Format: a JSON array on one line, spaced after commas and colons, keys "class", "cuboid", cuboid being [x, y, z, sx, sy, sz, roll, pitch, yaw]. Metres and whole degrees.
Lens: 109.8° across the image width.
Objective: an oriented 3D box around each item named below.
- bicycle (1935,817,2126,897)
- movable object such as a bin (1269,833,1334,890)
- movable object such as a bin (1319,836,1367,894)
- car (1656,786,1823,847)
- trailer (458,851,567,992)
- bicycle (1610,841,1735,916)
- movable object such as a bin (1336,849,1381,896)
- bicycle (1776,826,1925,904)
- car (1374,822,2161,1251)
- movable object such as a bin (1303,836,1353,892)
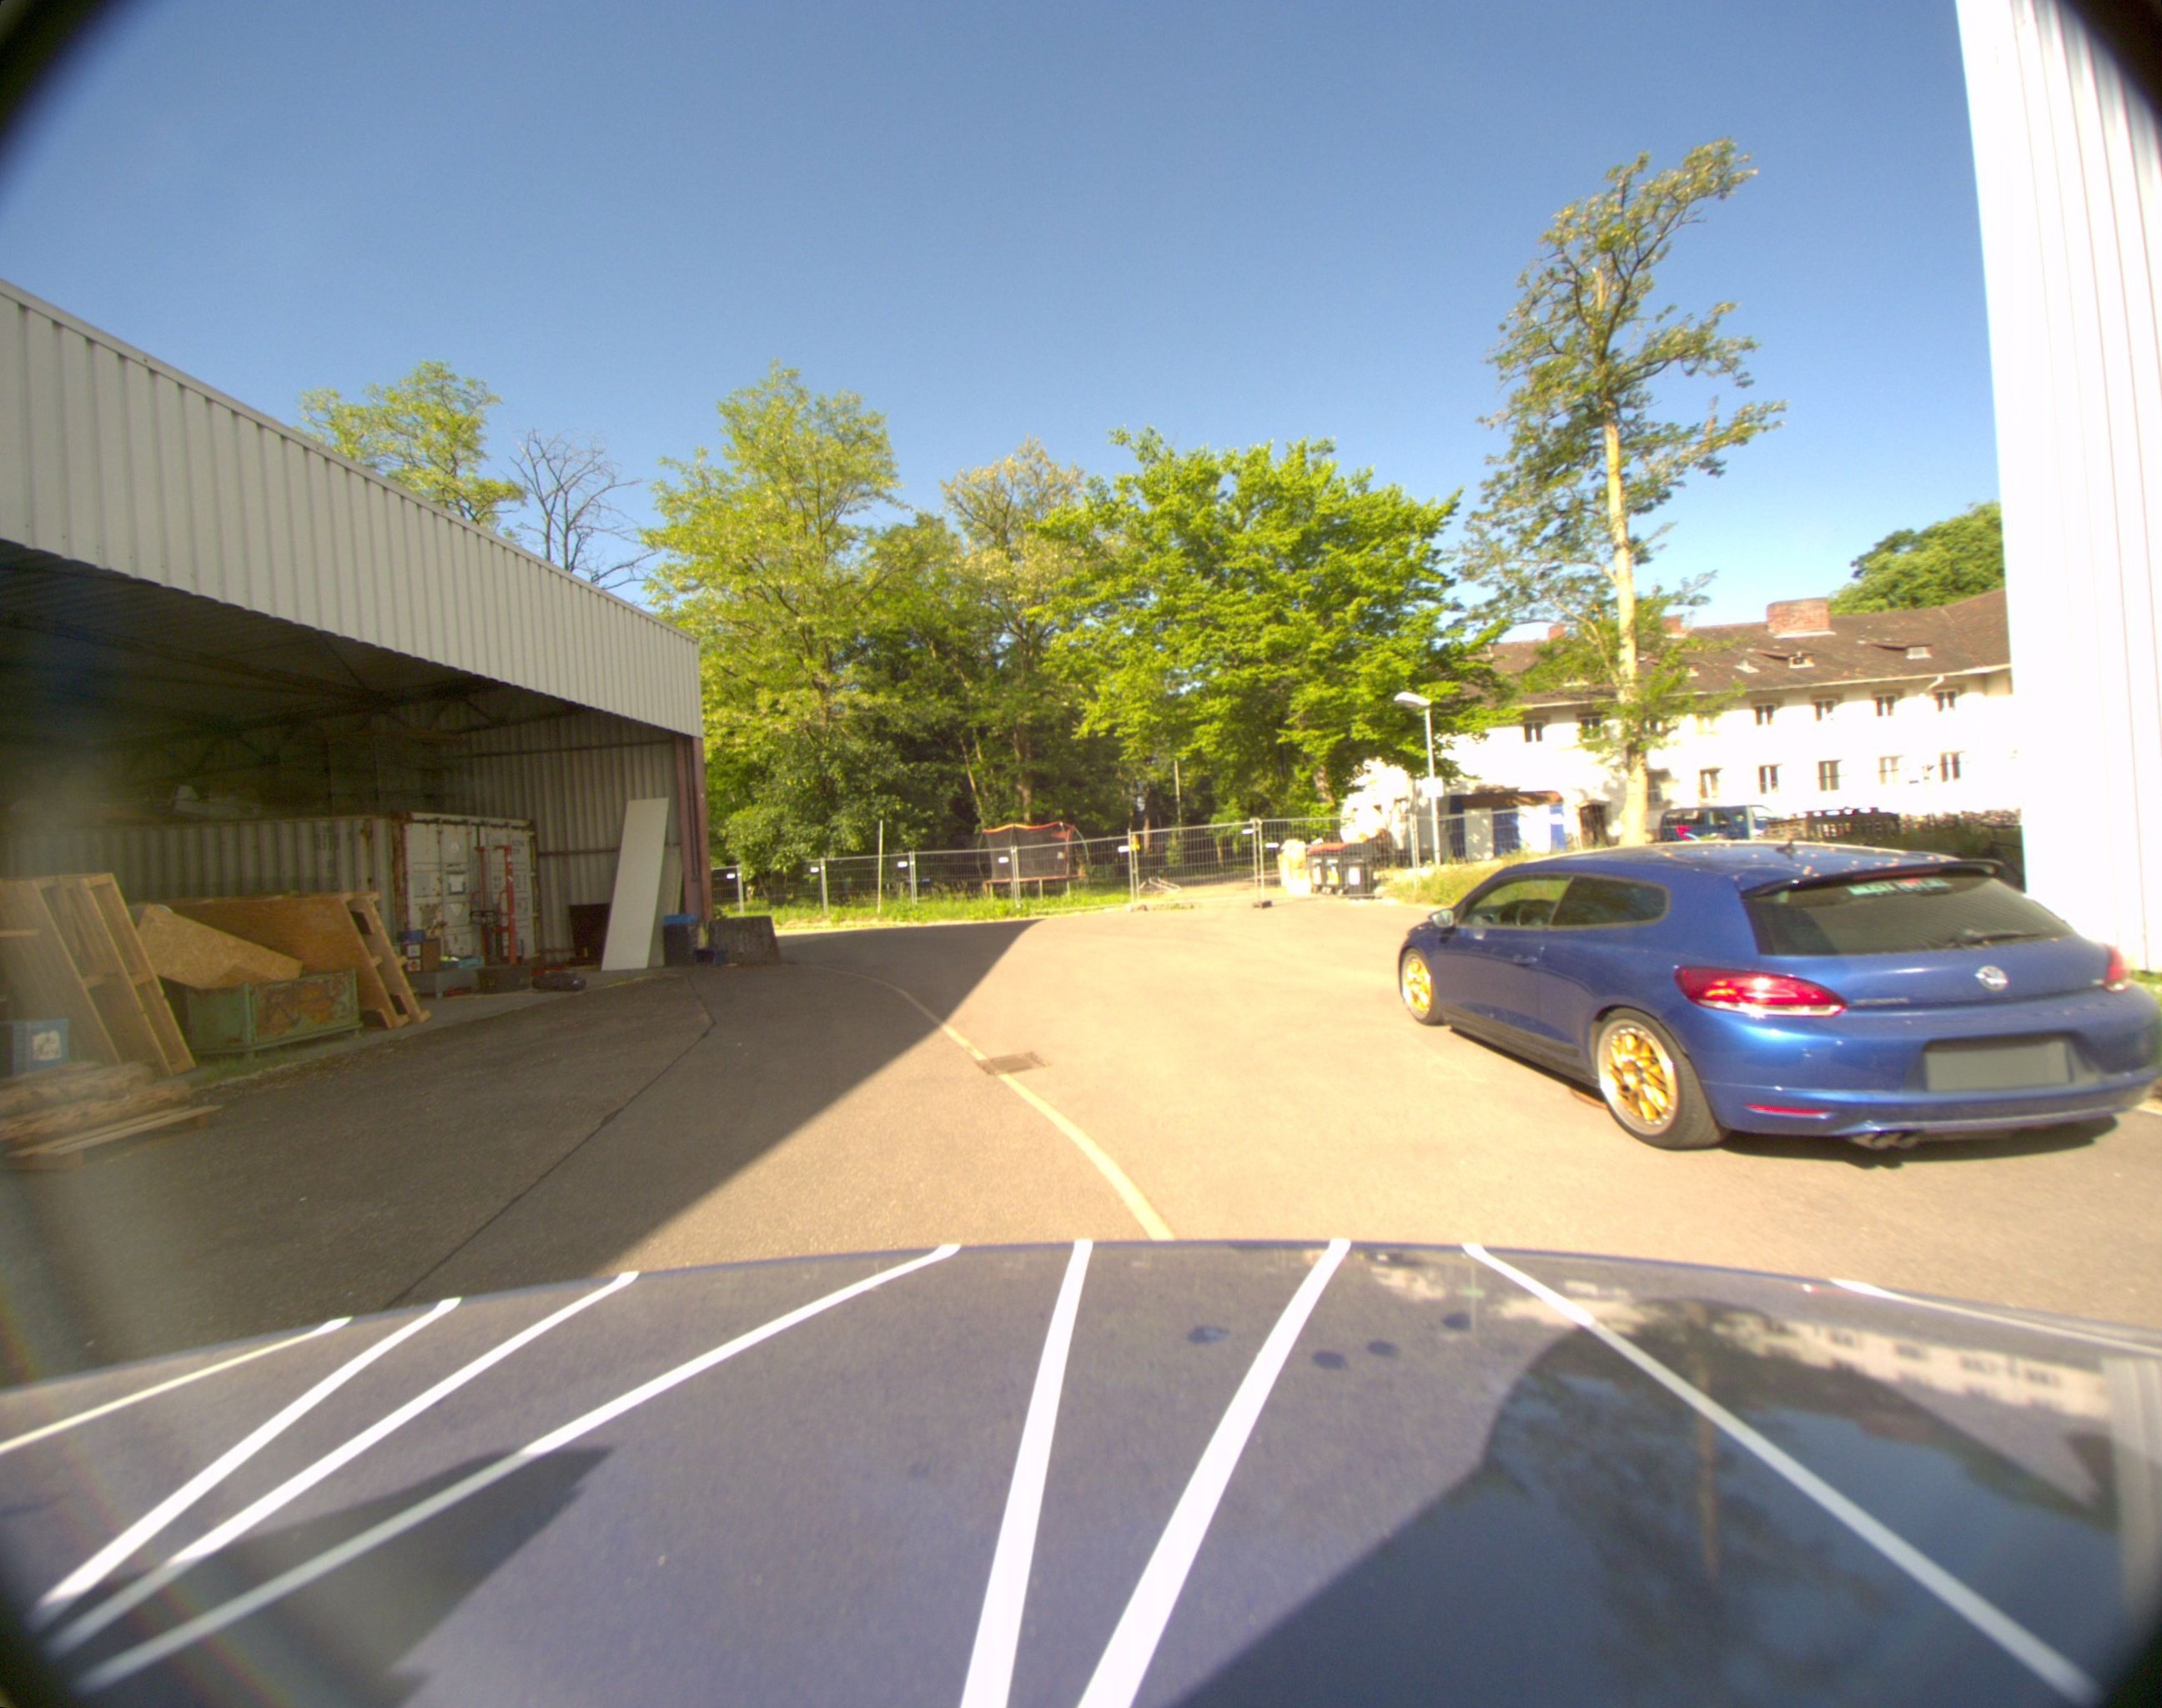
[{"class": "bicycle", "cuboid": [14.312, 0.046, 11.547, 0.525, 1.088, 1.894, -3, 0, 2]}, {"class": "movable object such as a bin", "cuboid": [6.789, 0.227, 23.563, 1.174, 1.582, 2.295, -4, 0, -3]}, {"class": "movable object such as a bin", "cuboid": [6.926, 0.295, 20.131, 0.702, 1.436, 1.248, -4, 0, -2]}, {"class": "car", "cuboid": [24.277, -1.306, 28.297, 1.999, 1.891, 4.725, -3, 0, -1]}, {"class": "trailer", "cuboid": [-8.970, 1.031, 12.039, 0.581, 2.055, 1.284, -6, -1, 0]}, {"class": "bicycle", "cuboid": [9.217, 0.356, 11.930, 0.459, 1.056, 1.805, -4, 0, -2]}, {"class": "movable object such as a bin", "cuboid": [6.876, 0.459, 18.867, 0.818, 1.091, 0.739, -4, 0, 7]}, {"class": "bicycle", "cuboid": [11.769, 0.152, 11.702, 0.524, 1.076, 1.798, -4, 0, 5]}, {"class": "car", "cuboid": [3.355, 0.633, 4.584, 1.672, 1.342, 3.954, -6, 0, 2]}, {"class": "movable object such as a bin", "cuboid": [6.966, 0.266, 21.474, 0.806, 1.475, 1.341, -4, 0, -3]}]
